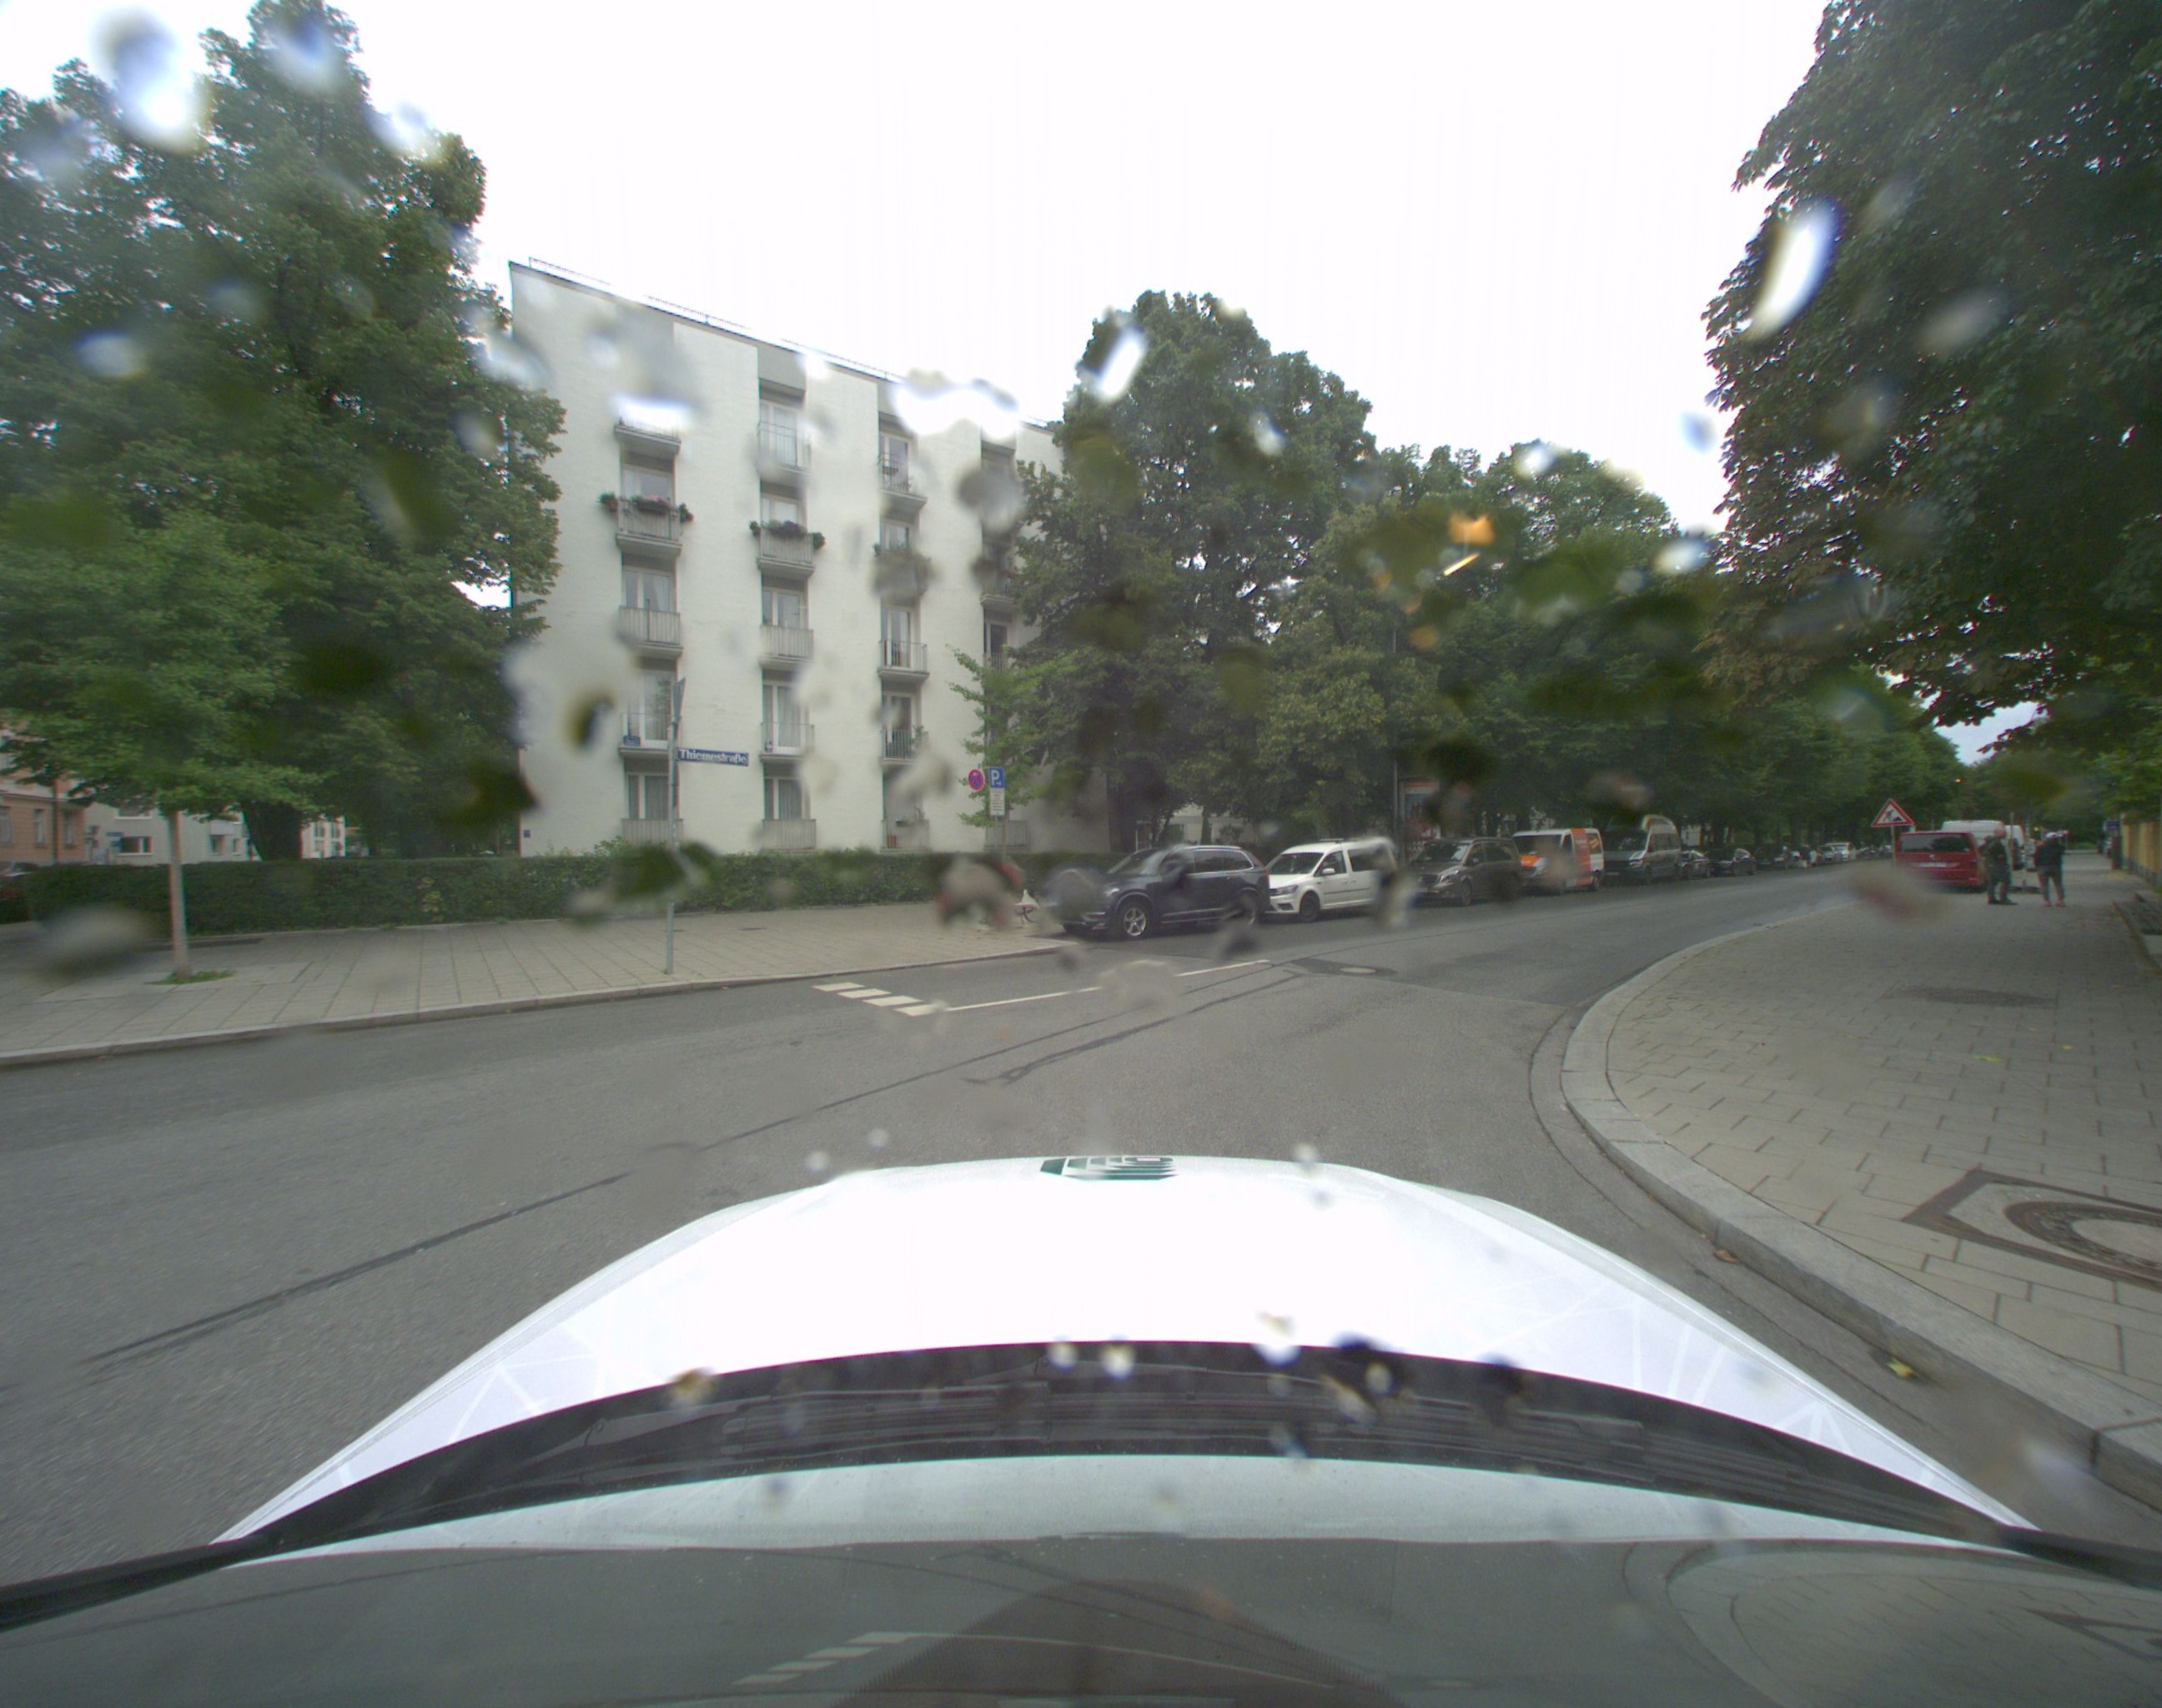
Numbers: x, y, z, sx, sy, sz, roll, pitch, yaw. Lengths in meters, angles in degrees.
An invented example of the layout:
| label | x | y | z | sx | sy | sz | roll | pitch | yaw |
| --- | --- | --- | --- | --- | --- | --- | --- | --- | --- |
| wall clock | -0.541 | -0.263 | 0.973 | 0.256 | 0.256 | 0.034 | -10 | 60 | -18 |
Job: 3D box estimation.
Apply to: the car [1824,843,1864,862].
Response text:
| label | x | y | z | sx | sy | sz | roll | pitch | yaw |
| --- | --- | --- | --- | --- | --- | --- | --- | --- | --- |
| car | 60.432 | -0.119 | 64.470 | 4.022 | 1.420 | 1.976 | -1 | 1 | -42 |

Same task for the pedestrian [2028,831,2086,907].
| label | x | y | z | sx | sy | sz | roll | pitch | yaw |
| --- | --- | --- | --- | --- | --- | --- | --- | --- | --- |
| pedestrian | 22.003 | 0.325 | 18.373 | 0.627 | 1.667 | 0.701 | -1 | 0 | 29 |

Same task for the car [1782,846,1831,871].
| label | x | y | z | sx | sy | sz | roll | pitch | yaw |
| --- | --- | --- | --- | --- | --- | --- | --- | --- | --- |
| car | 48.298 | 0.273 | 54.204 | 4.152 | 1.620 | 1.976 | -1 | 0 | -42 |

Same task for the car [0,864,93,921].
| label | x | y | z | sx | sy | sz | roll | pitch | yaw |
| --- | --- | --- | --- | --- | --- | --- | --- | --- | --- |
| car | -30.356 | 1.086 | 23.213 | 1.682 | 1.456 | 3.639 | -3 | 2 | -33 |

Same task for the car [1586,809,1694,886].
| label | x | y | z | sx | sy | sz | roll | pitch | yaw |
| --- | --- | --- | --- | --- | --- | --- | --- | --- | --- |
| car | 23.744 | -0.278 | 34.468 | 6.265 | 3.002 | 2.154 | -1 | 0 | -40 |

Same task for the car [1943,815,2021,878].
| label | x | y | z | sx | sy | sz | roll | pitch | yaw |
| --- | --- | --- | --- | --- | --- | --- | --- | --- | --- |
| car | 39.535 | -0.338 | 35.687 | 5.457 | 2.558 | 1.977 | -1 | 0 | -39 |

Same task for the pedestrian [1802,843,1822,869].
| label | x | y | z | sx | sy | sz | roll | pitch | yaw |
| --- | --- | --- | --- | --- | --- | --- | --- | --- | --- |
| pedestrian | 45.590 | 0.115 | 50.782 | 0.875 | 1.597 | 0.828 | 0 | 0 | 44 |

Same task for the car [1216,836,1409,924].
| label | x | y | z | sx | sy | sz | roll | pitch | yaw |
| --- | --- | --- | --- | --- | --- | --- | --- | --- | --- |
| car | 5.750 | 0.546 | 19.940 | 4.881 | 1.903 | 2.067 | -1 | 0 | -38 |

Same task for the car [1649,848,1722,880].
| label | x | y | z | sx | sy | sz | roll | pitch | yaw |
| --- | --- | --- | --- | --- | --- | --- | --- | --- | --- |
| car | 28.235 | 0.433 | 37.997 | 4.022 | 1.420 | 1.976 | -1 | 1 | -42 |

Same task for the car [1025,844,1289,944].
| label | x | y | z | sx | sy | sz | roll | pitch | yaw |
| --- | --- | --- | --- | --- | --- | --- | --- | --- | --- |
| car | 1.662 | 0.669 | 16.518 | 5.328 | 1.719 | 2.067 | -1 | 0 | -37 |

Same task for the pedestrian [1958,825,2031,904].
| label | x | y | z | sx | sy | sz | roll | pitch | yaw |
| --- | --- | --- | --- | --- | --- | --- | --- | --- | --- |
| pedestrian | 21.744 | 0.247 | 19.406 | 0.812 | 1.836 | 0.957 | -1 | 0 | 24 |

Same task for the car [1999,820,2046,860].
| label | x | y | z | sx | sy | sz | roll | pitch | yaw |
| --- | --- | --- | --- | --- | --- | --- | --- | --- | --- |
| car | 64.190 | -0.956 | 55.592 | 4.409 | 2.622 | 1.823 | -1 | 0 | -44 |

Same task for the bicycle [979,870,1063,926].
| label | x | y | z | sx | sy | sz | roll | pitch | yaw |
| --- | --- | --- | --- | --- | --- | --- | --- | --- | --- |
| bicycle | -1.263 | 0.910 | 17.465 | 0.744 | 1.085 | 1.795 | -1 | 0 | 41 |

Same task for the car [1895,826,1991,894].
| label | x | y | z | sx | sy | sz | roll | pitch | yaw |
| --- | --- | --- | --- | --- | --- | --- | --- | --- | --- |
| car | 27.271 | 0.155 | 25.710 | 4.995 | 1.937 | 1.895 | -1 | 0 | -41 |

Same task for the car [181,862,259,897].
| label | x | y | z | sx | sy | sz | roll | pitch | yaw |
| --- | --- | --- | --- | --- | --- | --- | --- | --- | --- |
| car | -40.787 | 1.178 | 38.667 | 1.682 | 1.456 | 3.639 | -3 | 2 | -33 |

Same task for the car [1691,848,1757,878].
| label | x | y | z | sx | sy | sz | roll | pitch | yaw |
| --- | --- | --- | --- | --- | --- | --- | --- | --- | --- |
| car | 32.690 | 0.402 | 41.358 | 4.152 | 1.420 | 1.976 | -1 | 1 | -42 |

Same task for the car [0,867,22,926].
| label | x | y | z | sx | sy | sz | roll | pitch | yaw |
| --- | --- | --- | --- | --- | --- | --- | --- | --- | --- |
| car | -27.115 | 1.092 | 19.047 | 1.682 | 1.456 | 3.639 | -3 | 2 | -33 |

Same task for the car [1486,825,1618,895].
| label | x | y | z | sx | sy | sz | roll | pitch | yaw |
| --- | --- | --- | --- | --- | --- | --- | --- | --- | --- |
| car | 16.748 | 0.191 | 28.807 | 5.630 | 2.265 | 2.066 | -1 | -1 | -39 |

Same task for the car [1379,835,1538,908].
| label | x | y | z | sx | sy | sz | roll | pitch | yaw |
| --- | --- | --- | --- | --- | --- | --- | --- | --- | --- |
| car | 11.245 | 0.459 | 24.048 | 5.696 | 1.908 | 2.008 | -1 | -1 | -40 |

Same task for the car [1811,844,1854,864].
| label | x | y | z | sx | sy | sz | roll | pitch | yaw |
| --- | --- | --- | --- | --- | --- | --- | --- | --- | --- |
| car | 55.996 | -0.024 | 60.676 | 4.022 | 1.420 | 1.976 | -1 | 1 | -42 |

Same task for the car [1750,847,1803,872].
| label | x | y | z | sx | sy | sz | roll | pitch | yaw |
| --- | --- | --- | --- | --- | --- | --- | --- | --- | --- |
| car | 42.975 | 0.305 | 50.314 | 4.152 | 1.486 | 1.976 | -1 | 1 | -42 |
